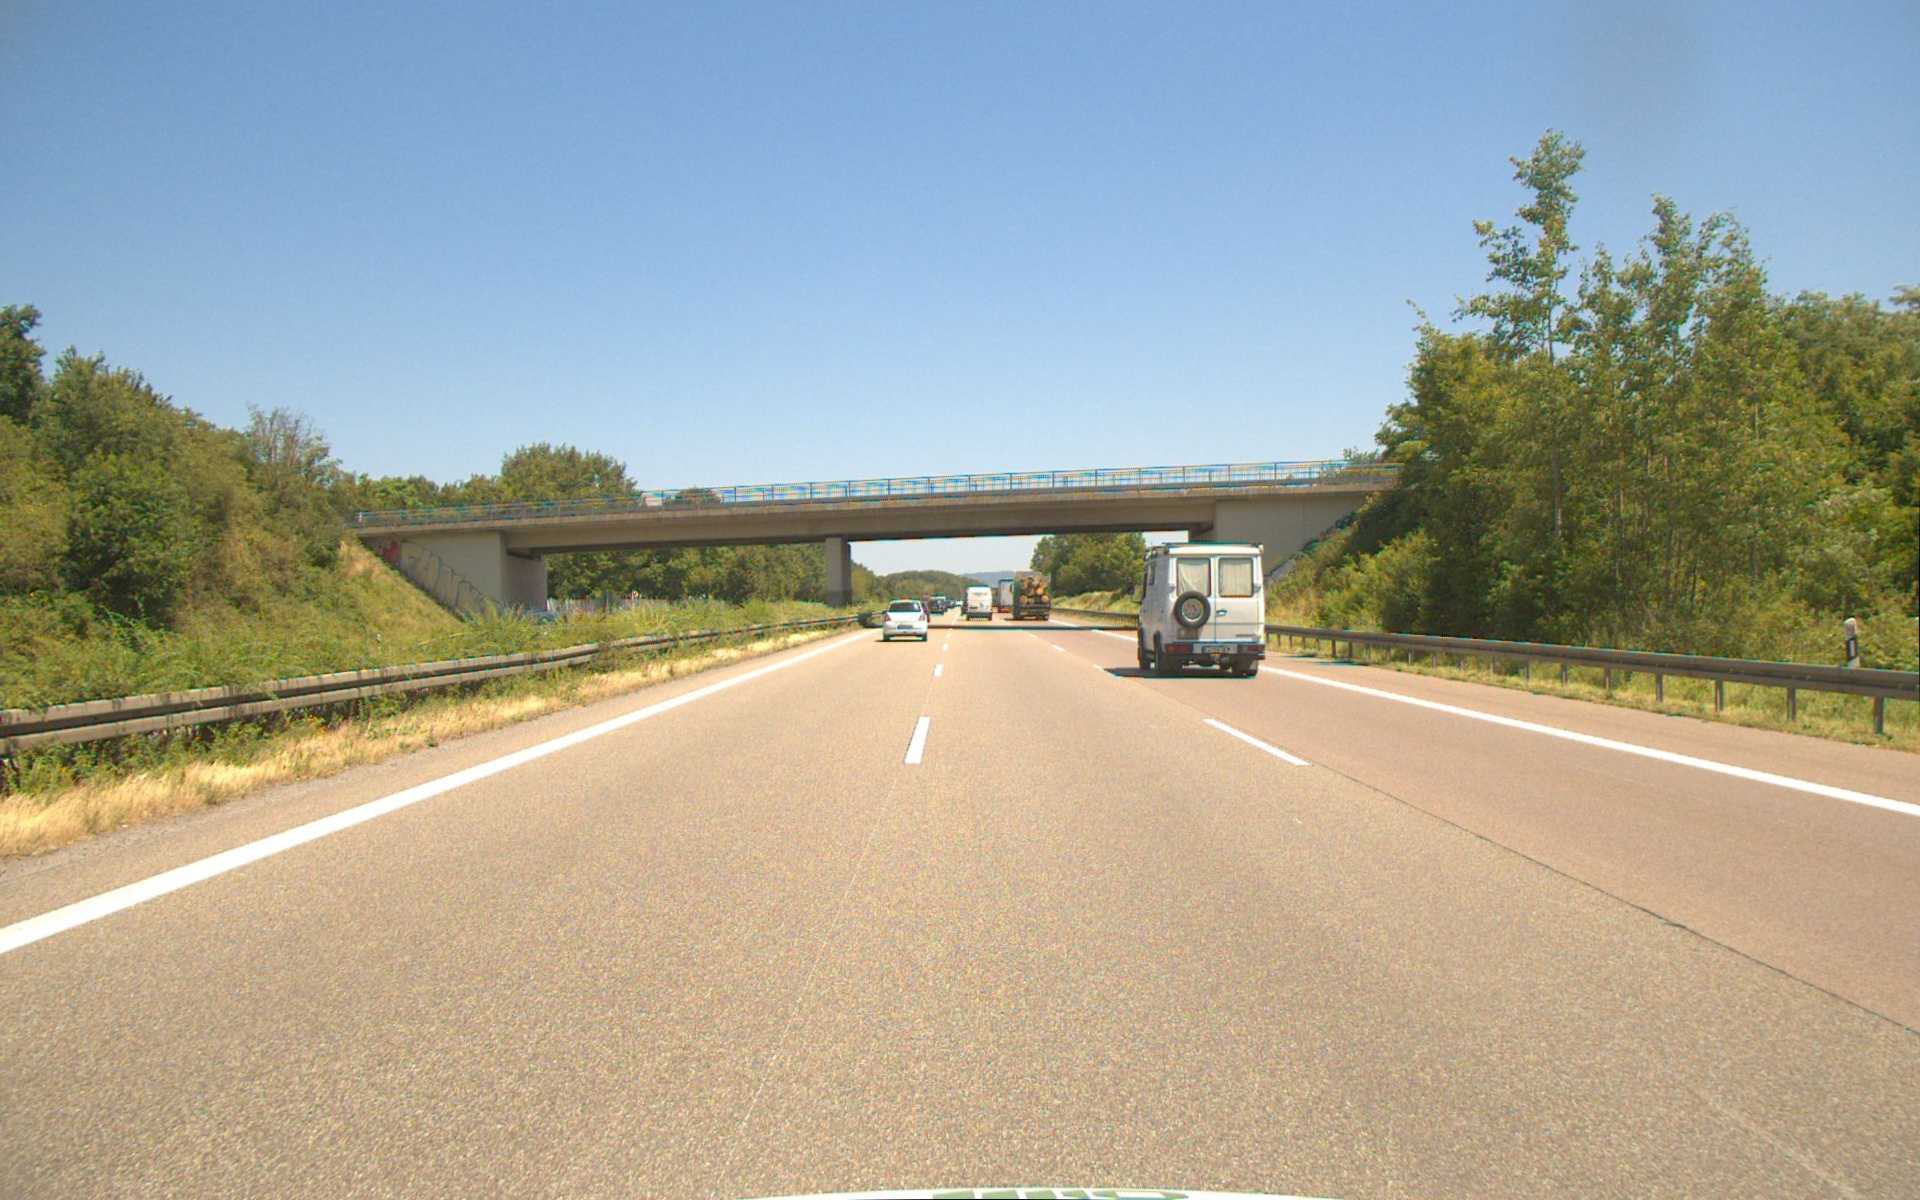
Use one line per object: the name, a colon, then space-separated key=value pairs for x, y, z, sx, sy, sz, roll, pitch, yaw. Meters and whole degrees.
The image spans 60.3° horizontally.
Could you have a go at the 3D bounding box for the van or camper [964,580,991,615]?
van or camper: x=1.349 y=-0.162 z=128.065 sx=2.016 sy=2.668 sz=5.985 roll=0 pitch=0 yaw=1

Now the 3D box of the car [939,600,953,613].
car: x=-1.928 y=0.831 z=220.288 sx=1.819 sy=1.681 sz=3.999 roll=0 pitch=0 yaw=-1

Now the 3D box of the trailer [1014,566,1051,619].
trailer: x=5.773 y=-0.548 z=133.431 sx=2.598 sy=4.028 sz=13.636 roll=0 pitch=0 yaw=1

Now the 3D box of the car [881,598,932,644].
car: x=-2.009 y=0.782 z=62.799 sx=1.819 sy=1.681 sz=3.999 roll=1 pitch=0 yaw=-1

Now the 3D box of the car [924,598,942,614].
car: x=-2.784 y=0.624 z=170.796 sx=1.819 sy=1.681 sz=3.999 roll=0 pitch=0 yaw=-1

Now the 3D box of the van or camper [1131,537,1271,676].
van or camper: x=5.098 y=0.141 z=35.934 sx=2.070 sy=2.750 sz=6.366 roll=0 pitch=0 yaw=-1

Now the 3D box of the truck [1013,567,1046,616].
truck: x=5.855 y=-0.731 z=140.405 sx=2.615 sy=4.064 sz=6.636 roll=0 pitch=0 yaw=1

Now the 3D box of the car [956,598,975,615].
car: x=0.513 y=0.633 z=165.213 sx=1.819 sy=1.681 sz=3.999 roll=0 pitch=0 yaw=-1

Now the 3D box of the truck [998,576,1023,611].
truck: x=6.382 y=-0.754 z=211.549 sx=3.015 sy=4.283 sz=16.845 roll=1 pitch=0 yaw=1
